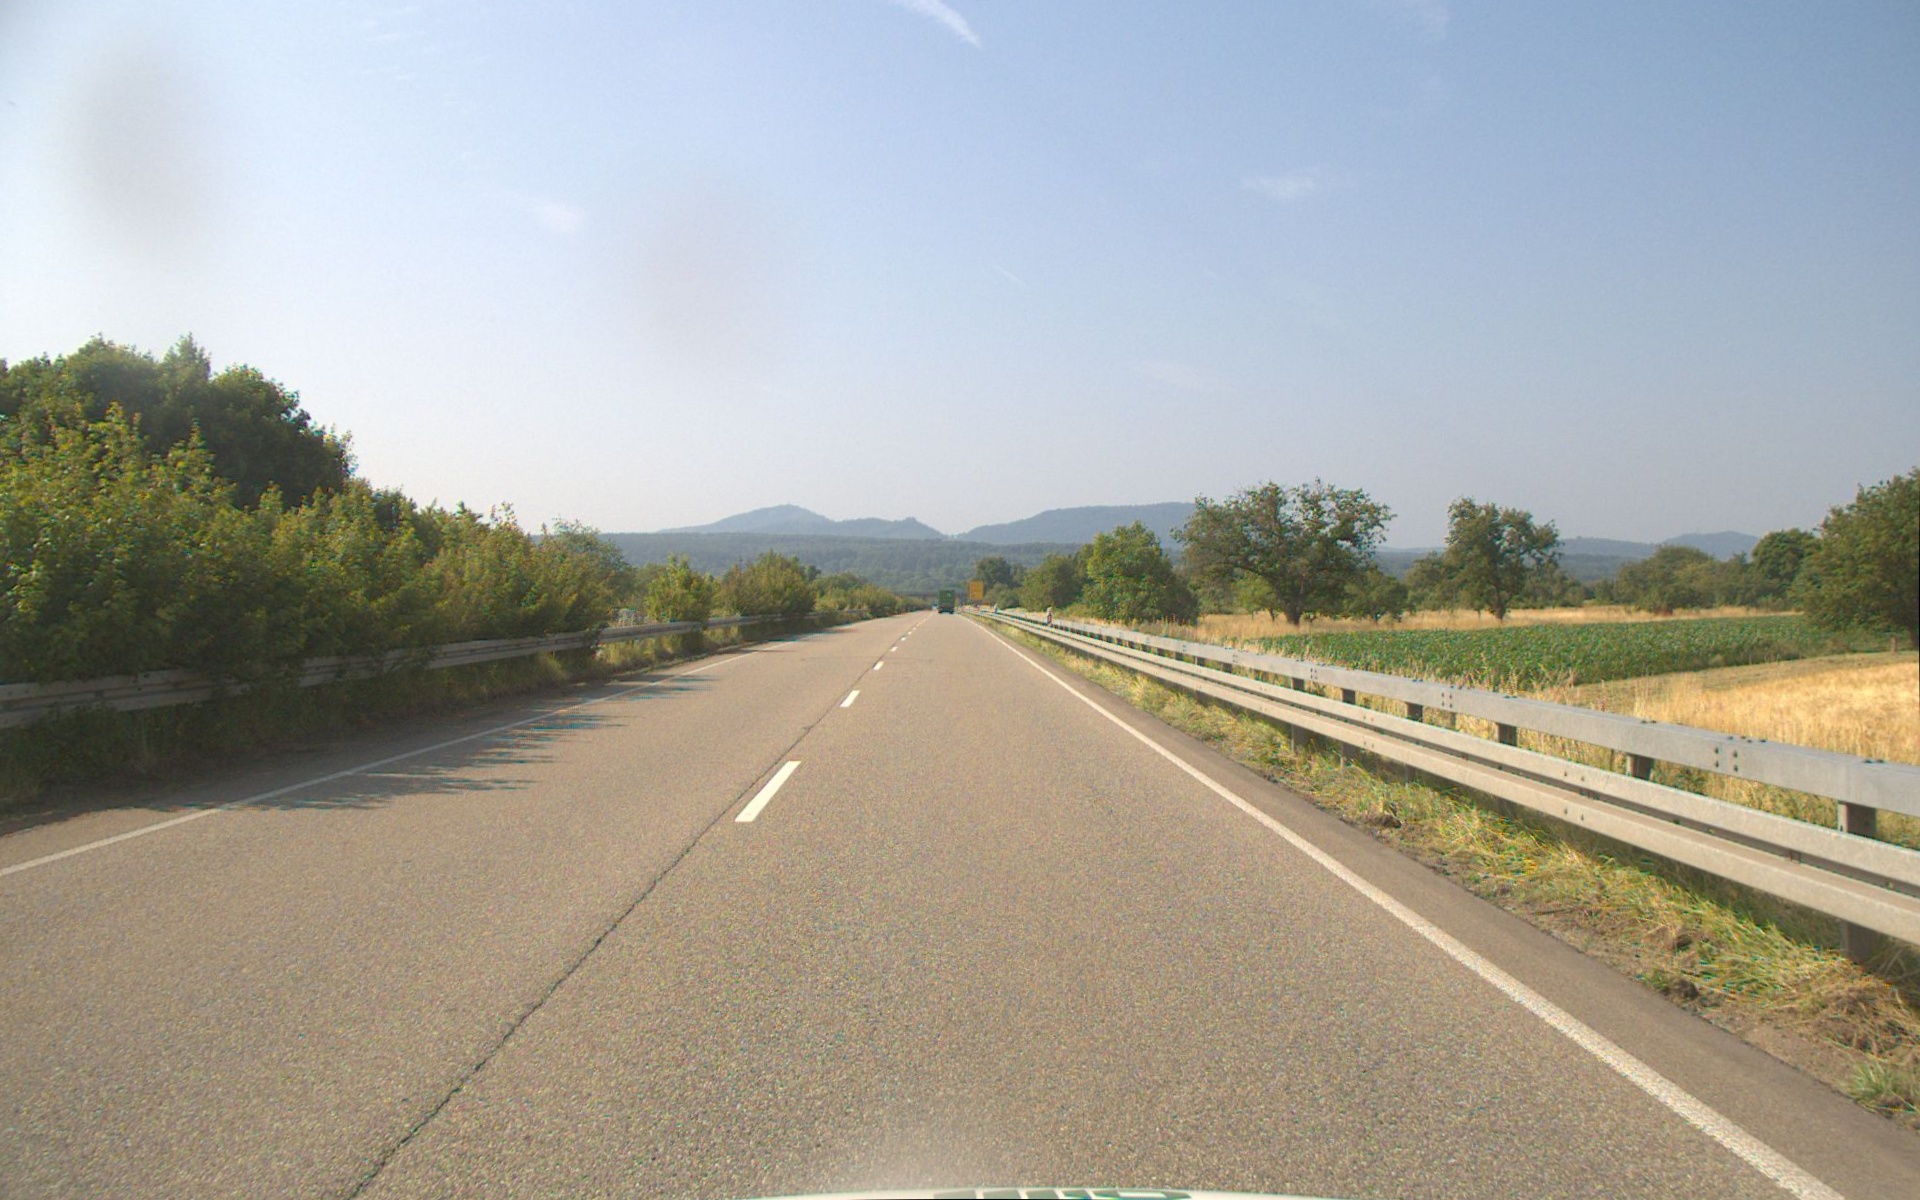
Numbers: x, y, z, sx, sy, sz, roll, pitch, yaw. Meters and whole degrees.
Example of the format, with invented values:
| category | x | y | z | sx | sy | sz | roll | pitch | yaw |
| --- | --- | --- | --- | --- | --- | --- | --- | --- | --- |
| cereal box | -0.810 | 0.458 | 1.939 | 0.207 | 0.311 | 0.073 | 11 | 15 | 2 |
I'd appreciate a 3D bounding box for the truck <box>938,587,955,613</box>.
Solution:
| category | x | y | z | sx | sy | sz | roll | pitch | yaw |
| --- | --- | --- | --- | --- | --- | --- | --- | --- | --- |
| truck | -2.121 | -0.036 | 262.389 | 2.666 | 4.034 | 10.415 | 1 | 1 | 0 |
